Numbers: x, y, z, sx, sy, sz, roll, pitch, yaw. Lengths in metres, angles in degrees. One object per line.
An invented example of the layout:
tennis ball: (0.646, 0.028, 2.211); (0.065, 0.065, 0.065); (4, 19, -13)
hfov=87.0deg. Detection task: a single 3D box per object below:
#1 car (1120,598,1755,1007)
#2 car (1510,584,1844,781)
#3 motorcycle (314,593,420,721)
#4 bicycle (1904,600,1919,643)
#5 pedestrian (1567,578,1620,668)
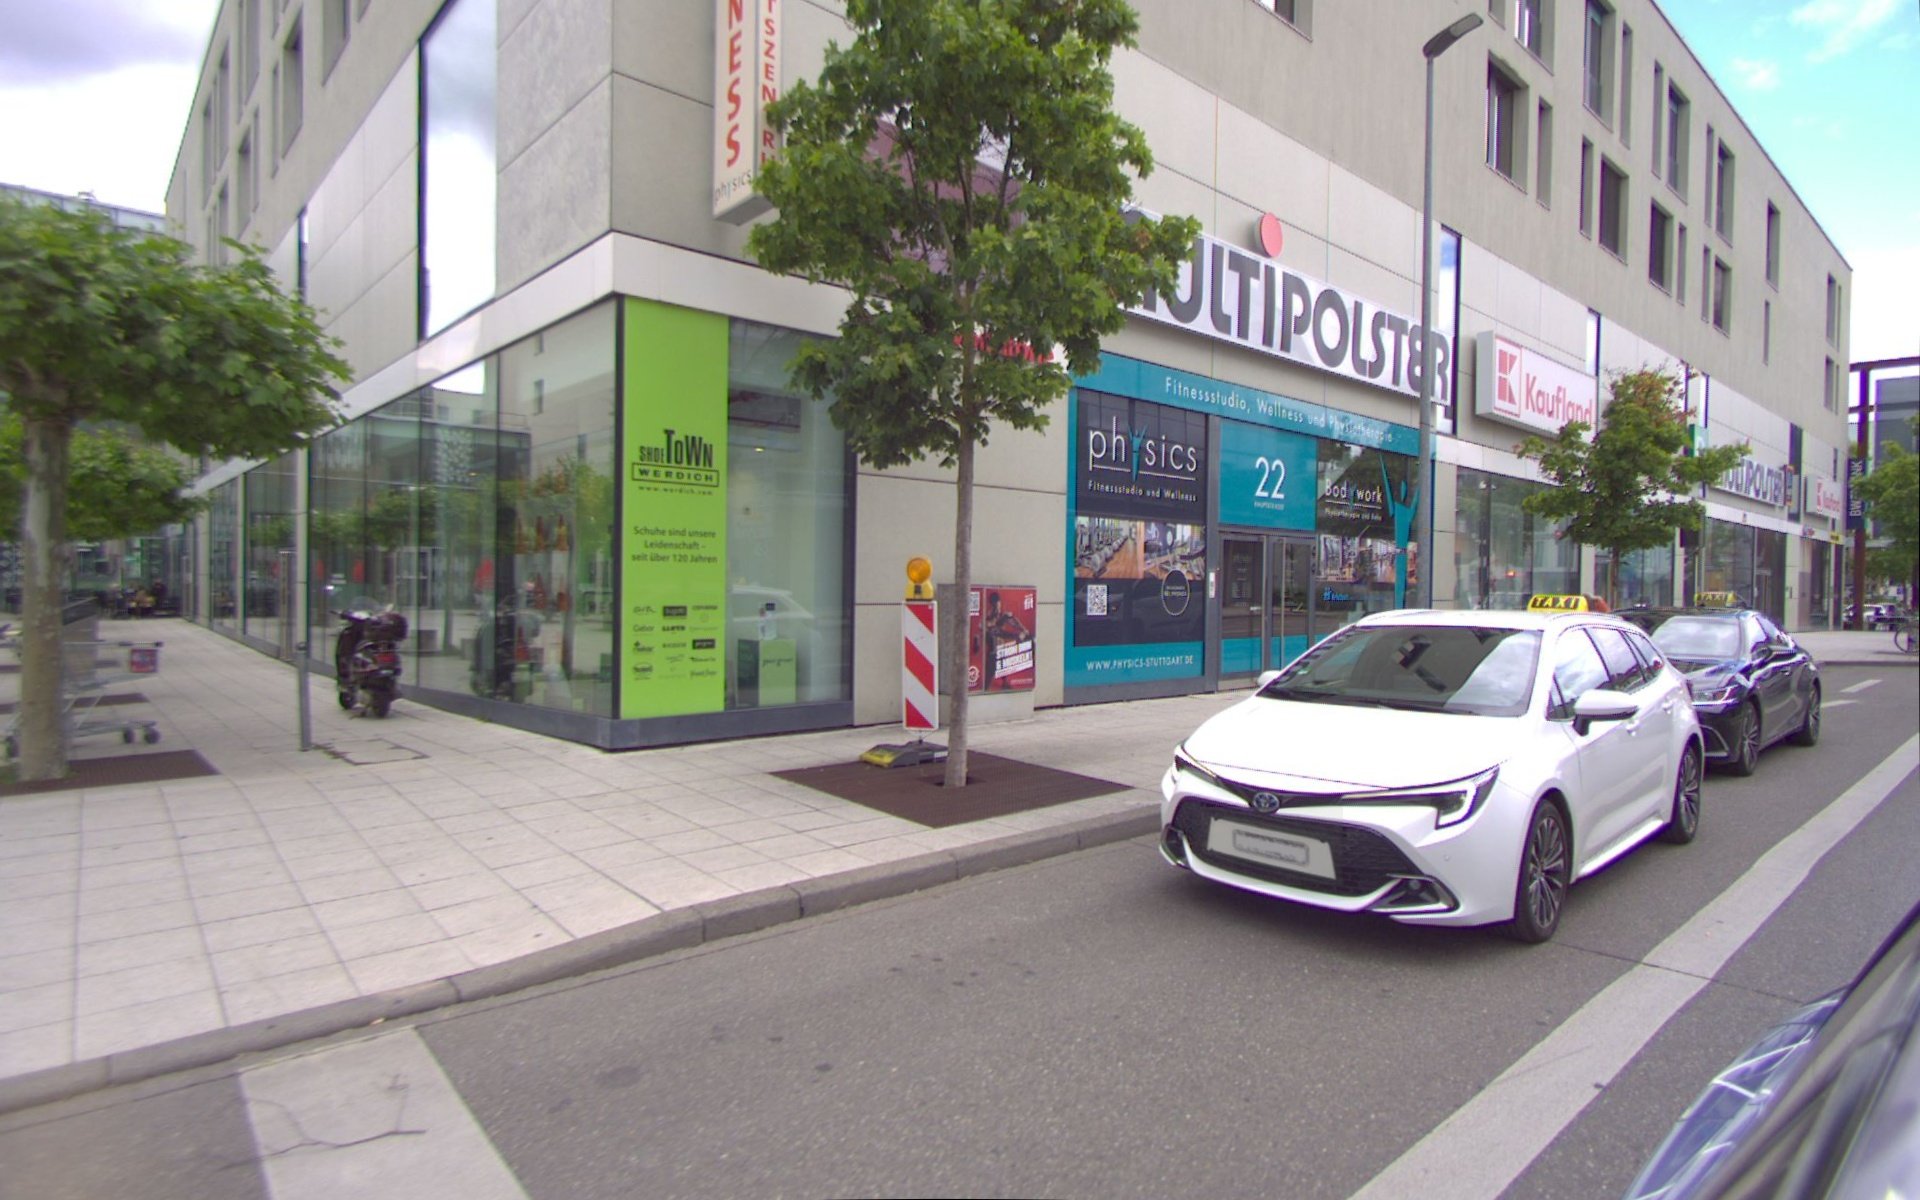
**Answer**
car: (3.017, 0.731, 5.843); (4.438, 1.443, 1.785); (-1, 1, -42)
car: (7.427, 0.645, 10.276); (4.707, 1.561, 1.739); (-1, 0, -42)
motorcycle: (-6.573, 0.587, 11.179); (0.584, 1.273, 1.841); (-3, 2, -43)
bicycle: (25.876, 0.611, 26.417); (1.739, 1.113, 0.553); (5, 3, 42)
pedestrian: (11.667, 0.410, 18.636); (0.719, 1.586, 0.590); (0, 2, -41)
